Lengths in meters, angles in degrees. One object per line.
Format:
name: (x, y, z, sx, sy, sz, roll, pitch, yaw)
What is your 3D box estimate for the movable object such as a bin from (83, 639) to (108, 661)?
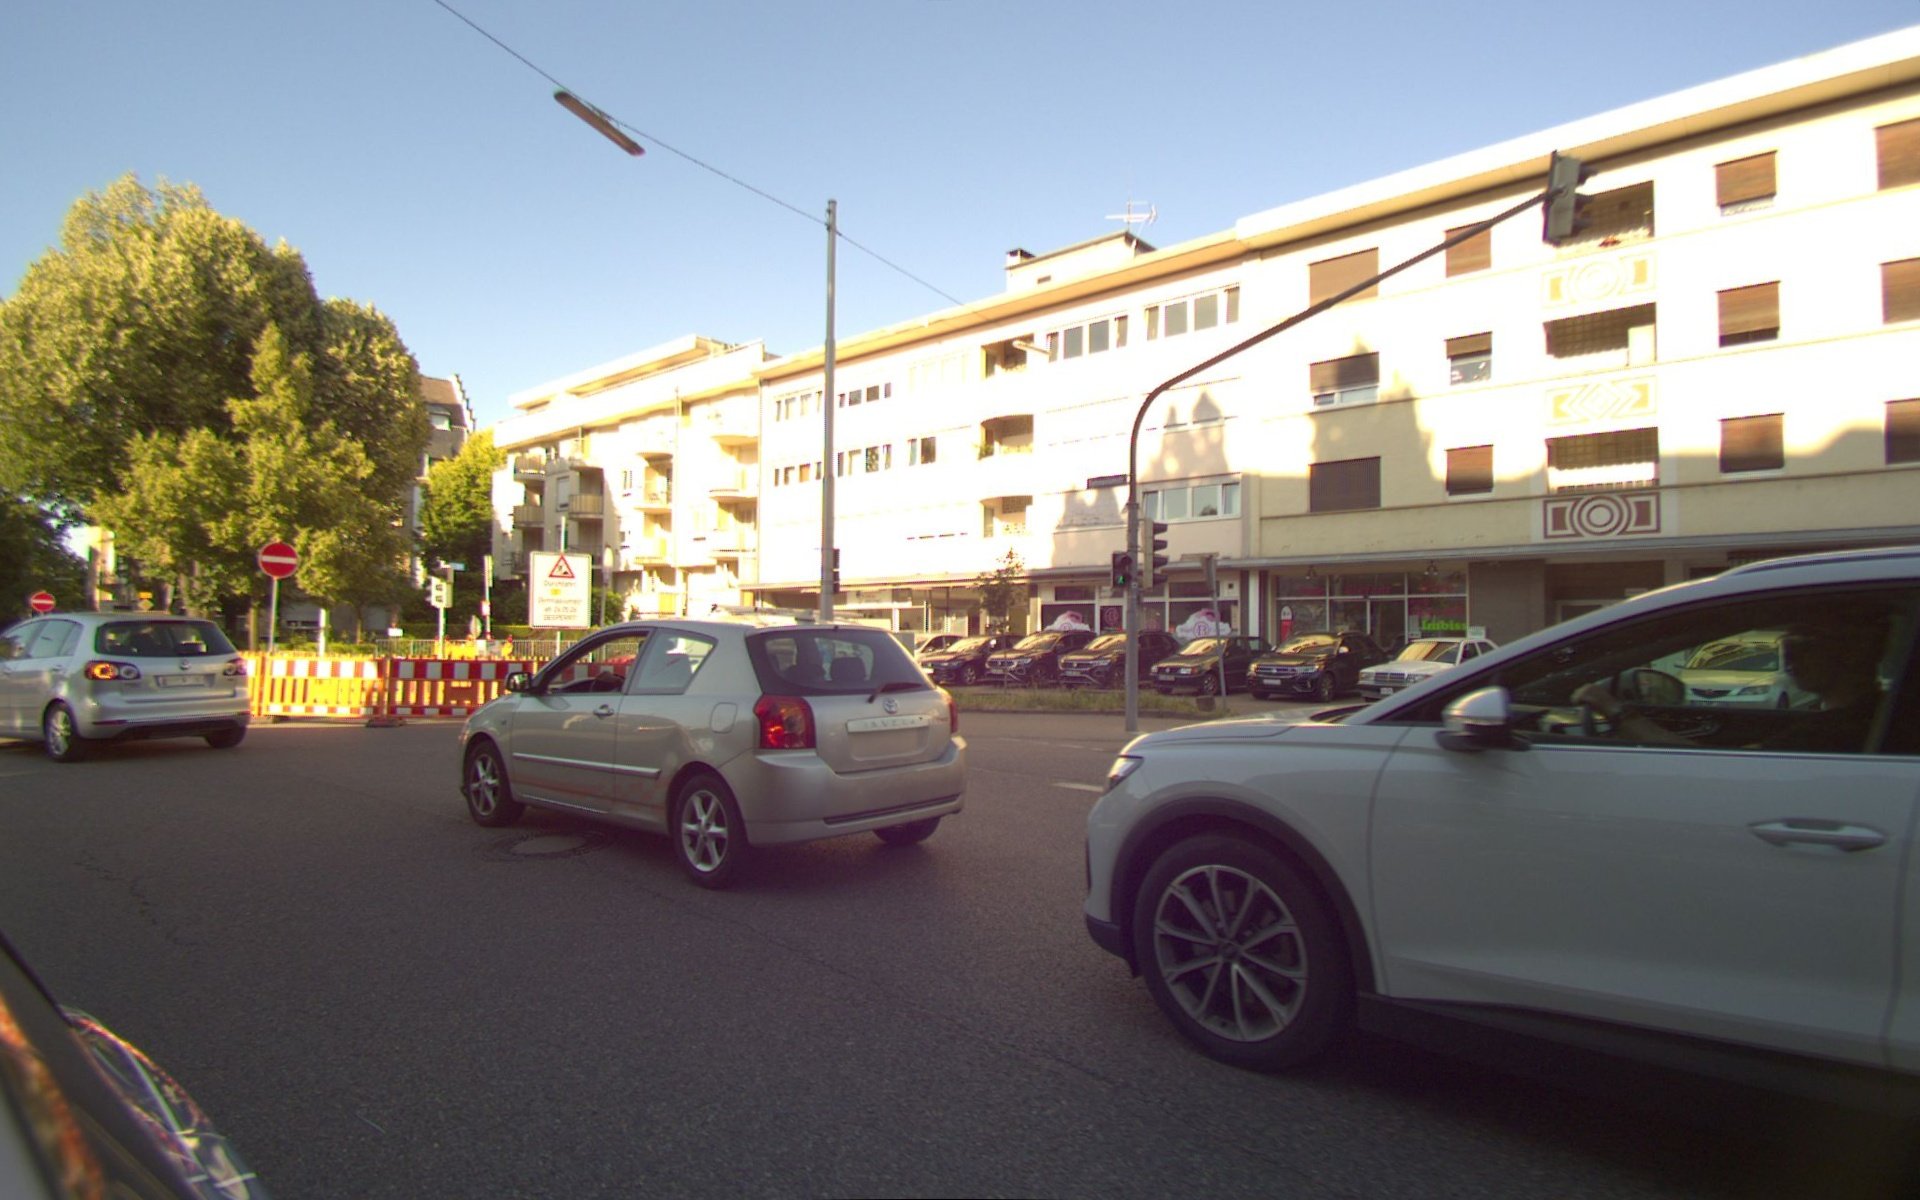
movable object such as a bin: (-57.464, 3.342, 67.254, 1.344, 1.442, 1.071, -3, -2, 40)

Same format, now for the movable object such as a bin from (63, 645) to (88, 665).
movable object such as a bin: (-63.978, 3.973, 73.213, 1.067, 1.442, 1.411, 0, -2, -29)

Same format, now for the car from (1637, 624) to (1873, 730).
car: (14.109, 1.269, 17.913, 4.255, 1.623, 2.005, 0, -2, -33)

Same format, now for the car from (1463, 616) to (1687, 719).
car: (11.789, 1.211, 19.336, 4.255, 1.728, 2.005, 0, -2, -34)

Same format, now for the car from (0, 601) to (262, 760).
car: (-10.107, 0.867, 11.683, 3.981, 1.555, 1.764, -2, -2, 28)

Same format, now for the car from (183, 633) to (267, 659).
car: (-46.280, 2.916, 63.763, 2.001, 1.564, 3.941, -3, -4, 44)

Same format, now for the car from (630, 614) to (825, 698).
car: (-5.618, 1.297, 24.778, 4.263, 1.866, 2.001, 1, -3, -45)

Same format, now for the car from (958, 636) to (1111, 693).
car: (2.150, 1.772, 28.514, 2.001, 1.409, 4.264, -3, -3, 45)

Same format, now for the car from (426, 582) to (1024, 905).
car: (-1.752, 0.741, 6.694, 4.093, 1.491, 1.757, -3, -2, 40)

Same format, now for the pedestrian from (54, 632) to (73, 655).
pedestrian: (-63.027, 3.059, 71.116, 0.915, 1.615, 0.813, -2, -2, 37)

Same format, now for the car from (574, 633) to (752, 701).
car: (-7.598, 1.664, 26.136, 1.999, 1.490, 3.949, -3, -1, 41)

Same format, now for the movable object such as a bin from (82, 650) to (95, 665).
movable object such as a bin: (-60.315, 3.961, 70.023, 0.764, 1.049, 0.629, -3, -3, 45)

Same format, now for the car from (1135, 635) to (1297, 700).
car: (6.429, 1.619, 25.179, 2.001, 1.409, 4.264, -3, -3, 45)

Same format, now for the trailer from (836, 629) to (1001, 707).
trailer: (-0.787, 1.323, 20.530, 1.573, 1.407, 3.220, -3, -2, 41)

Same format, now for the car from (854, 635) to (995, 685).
car: (-1.068, 1.845, 31.966, 2.001, 1.409, 4.264, -3, -3, 45)

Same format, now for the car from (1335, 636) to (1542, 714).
car: (10.102, 1.502, 21.303, 4.255, 1.409, 2.005, 0, -2, -34)

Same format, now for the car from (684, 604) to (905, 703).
car: (-3.598, 1.140, 22.699, 2.116, 1.980, 4.619, -3, -2, 40)

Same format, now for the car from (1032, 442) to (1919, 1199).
car: (2.498, 0.526, 2.675, 4.536, 1.661, 1.755, -3, -3, 44)
